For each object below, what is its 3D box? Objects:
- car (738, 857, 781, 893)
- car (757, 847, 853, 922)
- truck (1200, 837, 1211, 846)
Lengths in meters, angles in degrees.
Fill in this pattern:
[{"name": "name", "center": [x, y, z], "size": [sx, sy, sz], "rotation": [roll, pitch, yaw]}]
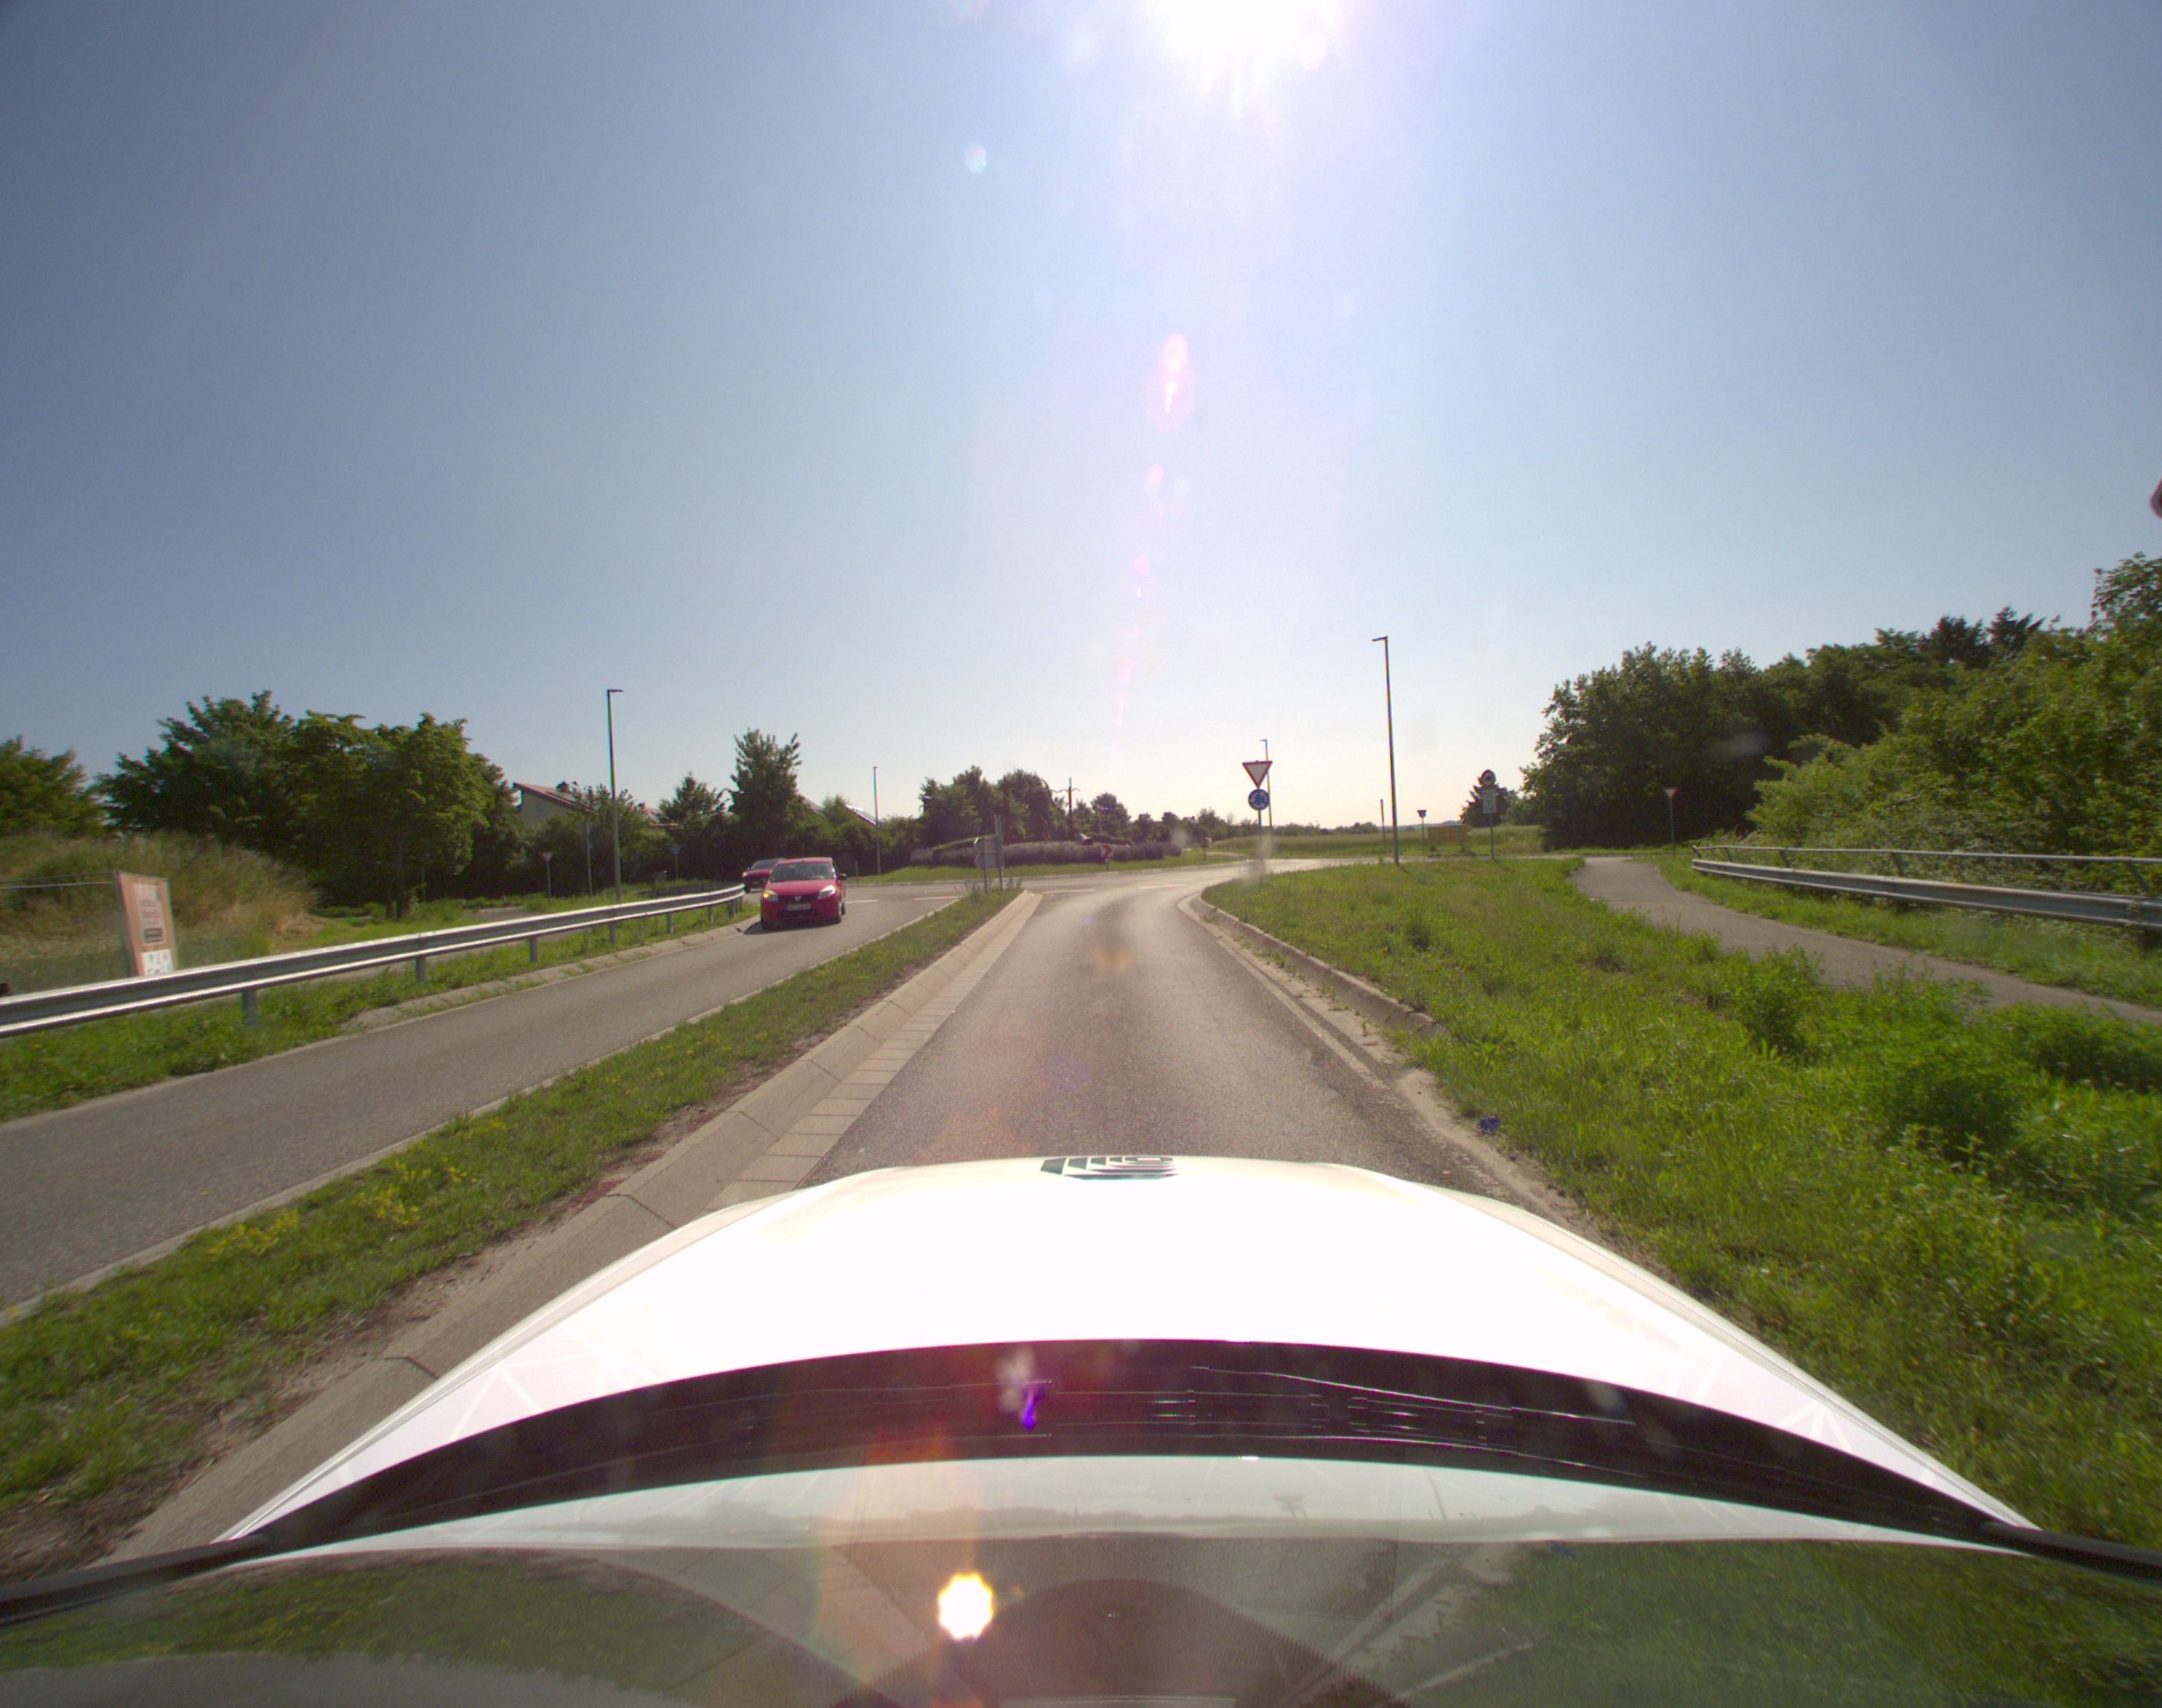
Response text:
[{"name": "car", "center": [-15.641, 0.990, 39.691], "size": [1.751, 1.522, 3.804], "rotation": [-4, 2, -21]}, {"name": "car", "center": [-6.437, 0.646, 19.357], "size": [1.628, 1.491, 3.787], "rotation": [-4, 1, -12]}, {"name": "truck", "center": [29.062, -2.961, 190.250], "size": [1.978, 2.013, 4.018], "rotation": [-2, 0, 17]}]
